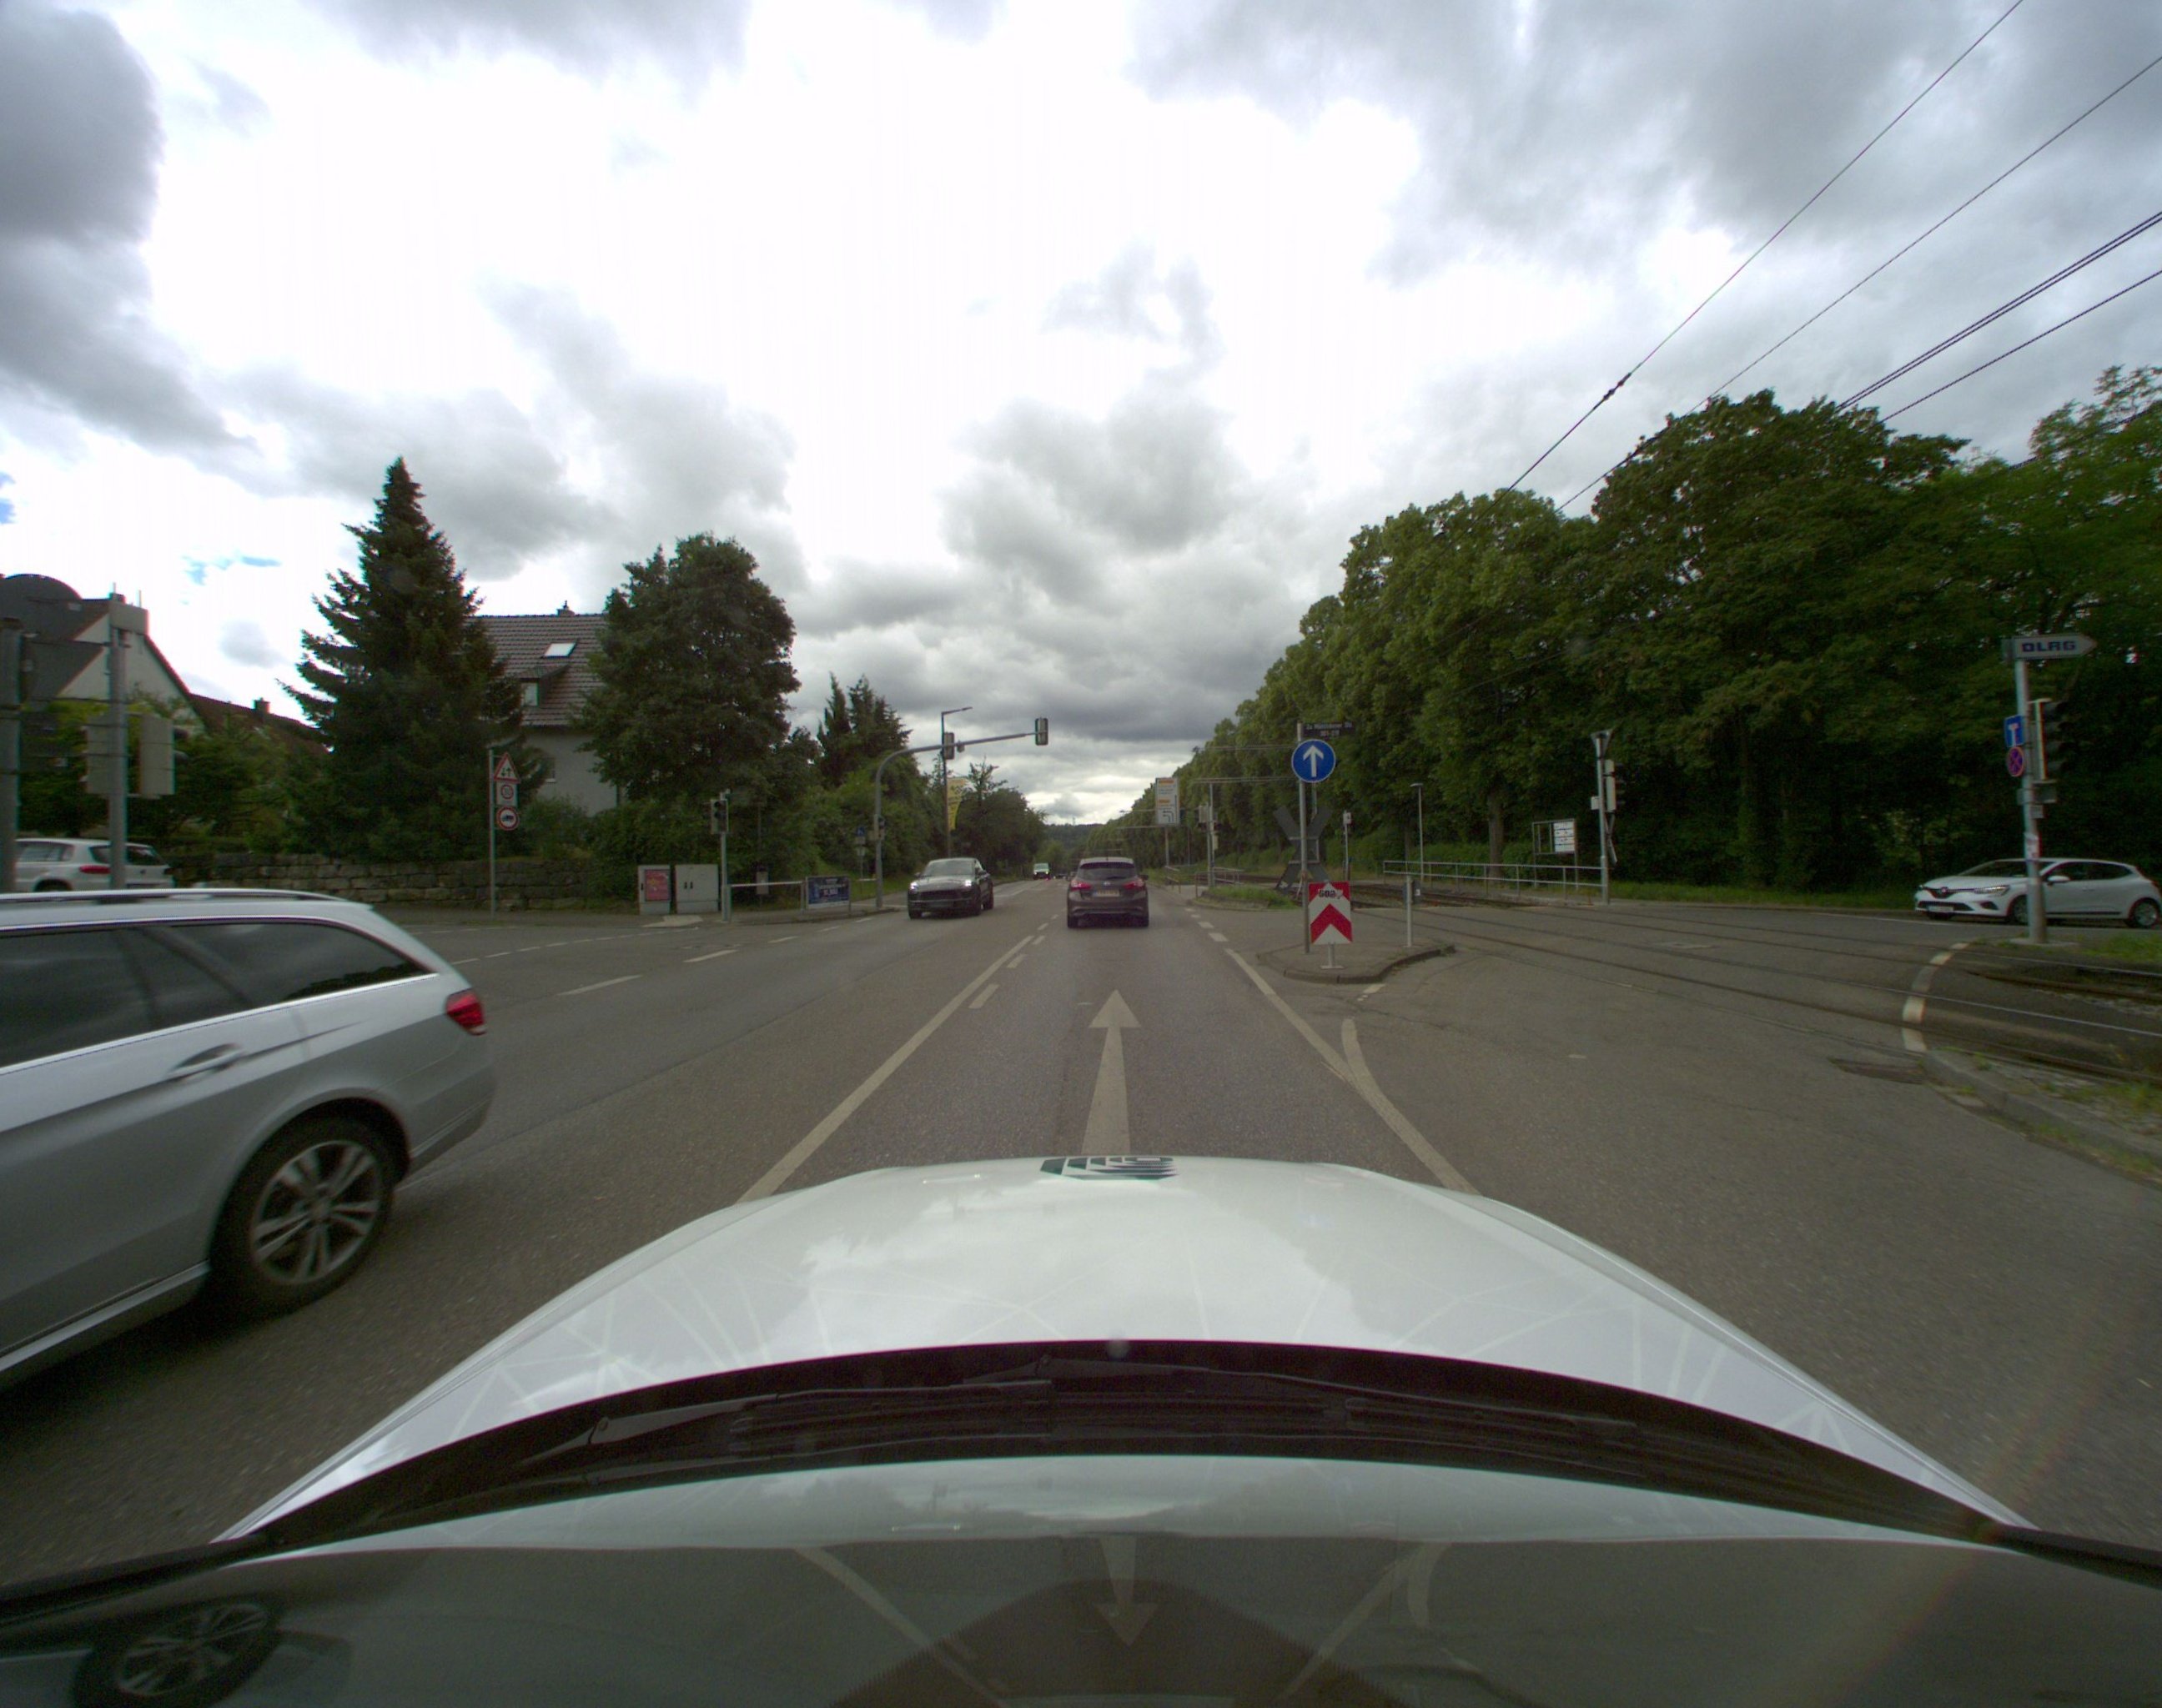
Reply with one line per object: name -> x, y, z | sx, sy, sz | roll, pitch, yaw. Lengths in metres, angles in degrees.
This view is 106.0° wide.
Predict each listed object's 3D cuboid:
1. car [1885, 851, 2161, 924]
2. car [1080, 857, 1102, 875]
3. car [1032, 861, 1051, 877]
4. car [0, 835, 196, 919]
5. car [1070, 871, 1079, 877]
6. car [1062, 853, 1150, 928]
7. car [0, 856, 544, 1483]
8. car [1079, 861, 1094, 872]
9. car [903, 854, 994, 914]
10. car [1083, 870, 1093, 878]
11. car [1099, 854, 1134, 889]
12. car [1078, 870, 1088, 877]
car -> 20.299, 0.695, 17.621 | 3.979, 1.354, 1.997 | 2, 0, -4
car -> 0.824, 0.941, 65.790 | 1.735, 1.310, 4.002 | 0, 0, 2
car -> -4.377, 1.670, 90.818 | 1.779, 1.696, 4.000 | -2, -1, 1
car -> -22.734, 0.471, 18.139 | 3.882, 1.598, 1.841 | 3, 0, -1
car -> -1.404, 4.285, 173.883 | 1.736, 1.310, 4.000 | 0, 0, 0
car -> 0.600, 0.746, 19.127 | 1.828, 1.519, 4.485 | 0, 0, 2
car -> -3.637, 0.811, 1.503 | 1.813, 1.567, 5.204 | 0, 0, 0
car -> 0.694, 1.574, 101.111 | 1.735, 1.310, 4.002 | 0, 0, 2
car -> -3.689, 0.826, 23.499 | 1.895, 1.574, 4.481 | 0, -1, 0
car -> 1.197, 3.328, 136.793 | 1.736, 1.310, 4.000 | 0, 0, 0
car -> 1.650, 0.794, 38.337 | 1.533, 1.478, 3.766 | -1, 0, 2
car -> 0.375, 3.670, 153.059 | 1.736, 1.310, 4.000 | 0, 0, 0
